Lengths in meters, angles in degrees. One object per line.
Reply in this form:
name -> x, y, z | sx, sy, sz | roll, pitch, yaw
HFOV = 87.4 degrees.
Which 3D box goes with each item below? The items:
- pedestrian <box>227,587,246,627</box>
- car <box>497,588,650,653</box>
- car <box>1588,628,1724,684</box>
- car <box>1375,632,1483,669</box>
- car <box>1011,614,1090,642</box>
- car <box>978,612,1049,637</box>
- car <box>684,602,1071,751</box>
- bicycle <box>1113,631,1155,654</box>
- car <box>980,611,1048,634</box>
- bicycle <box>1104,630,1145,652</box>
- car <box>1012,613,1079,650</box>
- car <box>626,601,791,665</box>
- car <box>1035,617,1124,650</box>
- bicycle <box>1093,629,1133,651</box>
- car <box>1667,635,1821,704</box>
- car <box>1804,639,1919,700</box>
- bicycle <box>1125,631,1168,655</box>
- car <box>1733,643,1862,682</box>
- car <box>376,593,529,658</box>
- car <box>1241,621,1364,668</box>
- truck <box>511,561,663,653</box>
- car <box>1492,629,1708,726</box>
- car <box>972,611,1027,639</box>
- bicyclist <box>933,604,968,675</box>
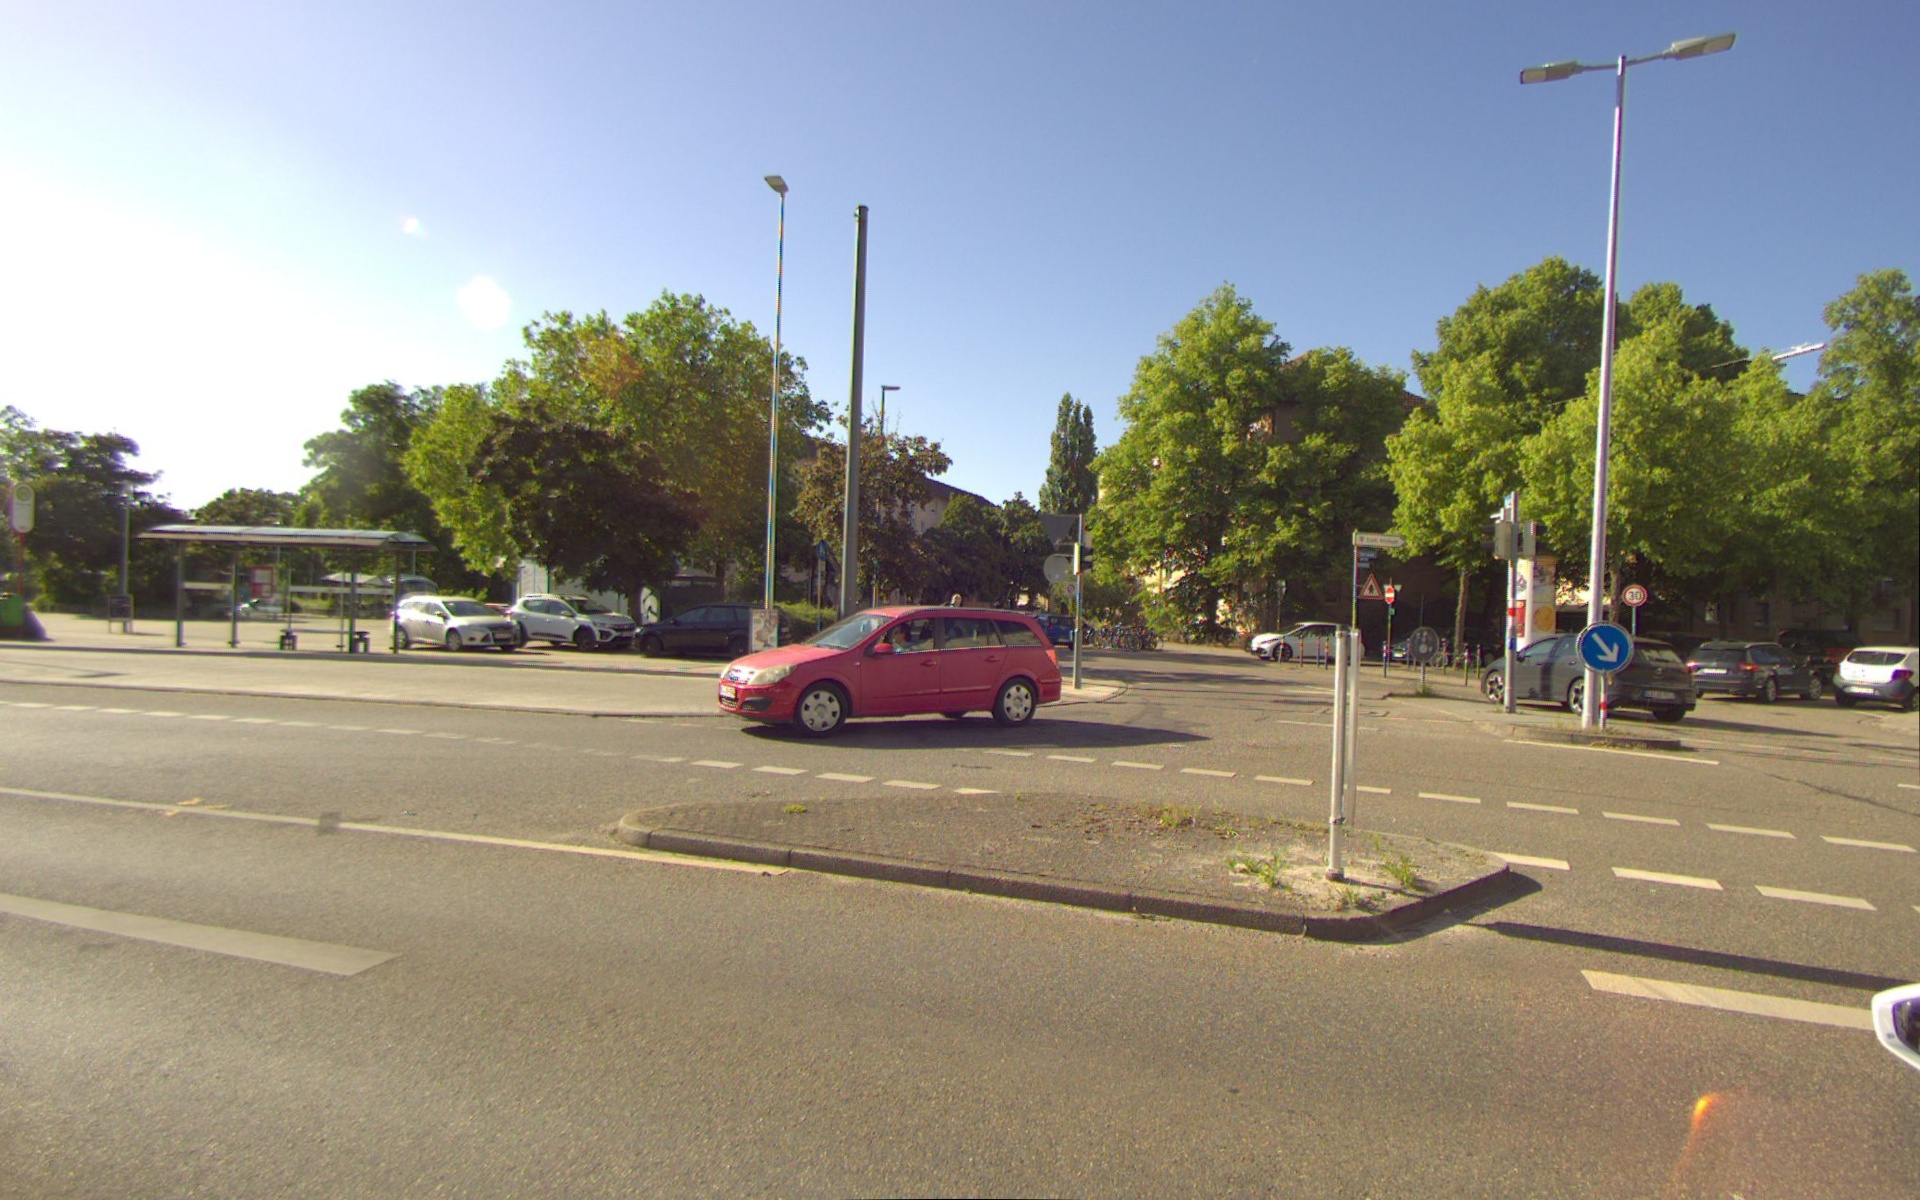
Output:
pedestrian -> -34.354, 0.329, 47.697 | 0.552, 1.853, 0.723 | 2, 0, -24
car -> -11.357, 0.555, 29.578 | 3.920, 1.741, 1.764 | 1, 2, 17
car -> 22.369, 1.767, 32.417 | 1.644, 1.623, 3.295 | 2, -1, -17
car -> 18.586, 1.992, 39.841 | 3.637, 1.310, 1.596 | 2, -1, -11
car -> 4.961, 1.548, 55.106 | 3.930, 1.356, 1.802 | 2, 0, 32
car -> 3.274, 1.496, 61.650 | 3.930, 1.356, 1.802 | 2, 0, 32
car -> -0.900, 0.860, 12.389 | 4.500, 1.508, 1.738 | 2, 0, -36
bicycle -> 7.986, 1.943, 46.154 | 1.882, 1.008, 0.507 | 2, -1, -21
car -> 3.452, 1.433, 64.318 | 3.930, 1.356, 1.802 | 2, 0, 32
bicycle -> 7.721, 1.926, 47.123 | 1.882, 1.008, 0.507 | 2, -1, -21
car -> 3.609, 1.329, 43.080 | 1.625, 1.457, 3.382 | 2, 0, -19
car -> -6.738, 0.854, 27.076 | 3.927, 1.509, 1.764 | 1, 2, 11
car -> 5.963, 1.675, 50.231 | 3.936, 1.460, 1.911 | 2, 0, -17
bicycle -> 7.368, 1.899, 48.218 | 1.882, 1.008, 0.507 | 2, -1, -21
car -> 20.334, 1.766, 26.020 | 4.370, 1.599, 1.738 | 2, -1, -32
car -> 23.289, 1.716, 24.582 | 3.929, 1.327, 1.996 | 2, 0, -11
bicycle -> 8.367, 1.926, 44.992 | 1.882, 1.008, 0.507 | 2, -1, -21
car -> 30.669, 2.253, 36.890 | 3.383, 1.206, 1.664 | 2, -1, 32
car -> -14.336, 0.661, 28.295 | 4.471, 1.565, 1.867 | 2, 2, 33
car -> 13.214, 1.712, 38.872 | 4.149, 1.639, 1.763 | 2, 0, -8
truck -> -13.101, 0.243, 35.577 | 1.965, 3.035, 4.818 | 1, 0, 31
car -> 11.480, 1.325, 18.324 | 1.594, 1.448, 3.689 | 2, 0, 1
car -> 1.904, 1.201, 49.440 | 1.668, 1.270, 3.614 | 2, 0, -15
bicyclist -> -0.209, 0.875, 22.491 | 0.664, 1.551, 0.613 | 1, 1, -11
